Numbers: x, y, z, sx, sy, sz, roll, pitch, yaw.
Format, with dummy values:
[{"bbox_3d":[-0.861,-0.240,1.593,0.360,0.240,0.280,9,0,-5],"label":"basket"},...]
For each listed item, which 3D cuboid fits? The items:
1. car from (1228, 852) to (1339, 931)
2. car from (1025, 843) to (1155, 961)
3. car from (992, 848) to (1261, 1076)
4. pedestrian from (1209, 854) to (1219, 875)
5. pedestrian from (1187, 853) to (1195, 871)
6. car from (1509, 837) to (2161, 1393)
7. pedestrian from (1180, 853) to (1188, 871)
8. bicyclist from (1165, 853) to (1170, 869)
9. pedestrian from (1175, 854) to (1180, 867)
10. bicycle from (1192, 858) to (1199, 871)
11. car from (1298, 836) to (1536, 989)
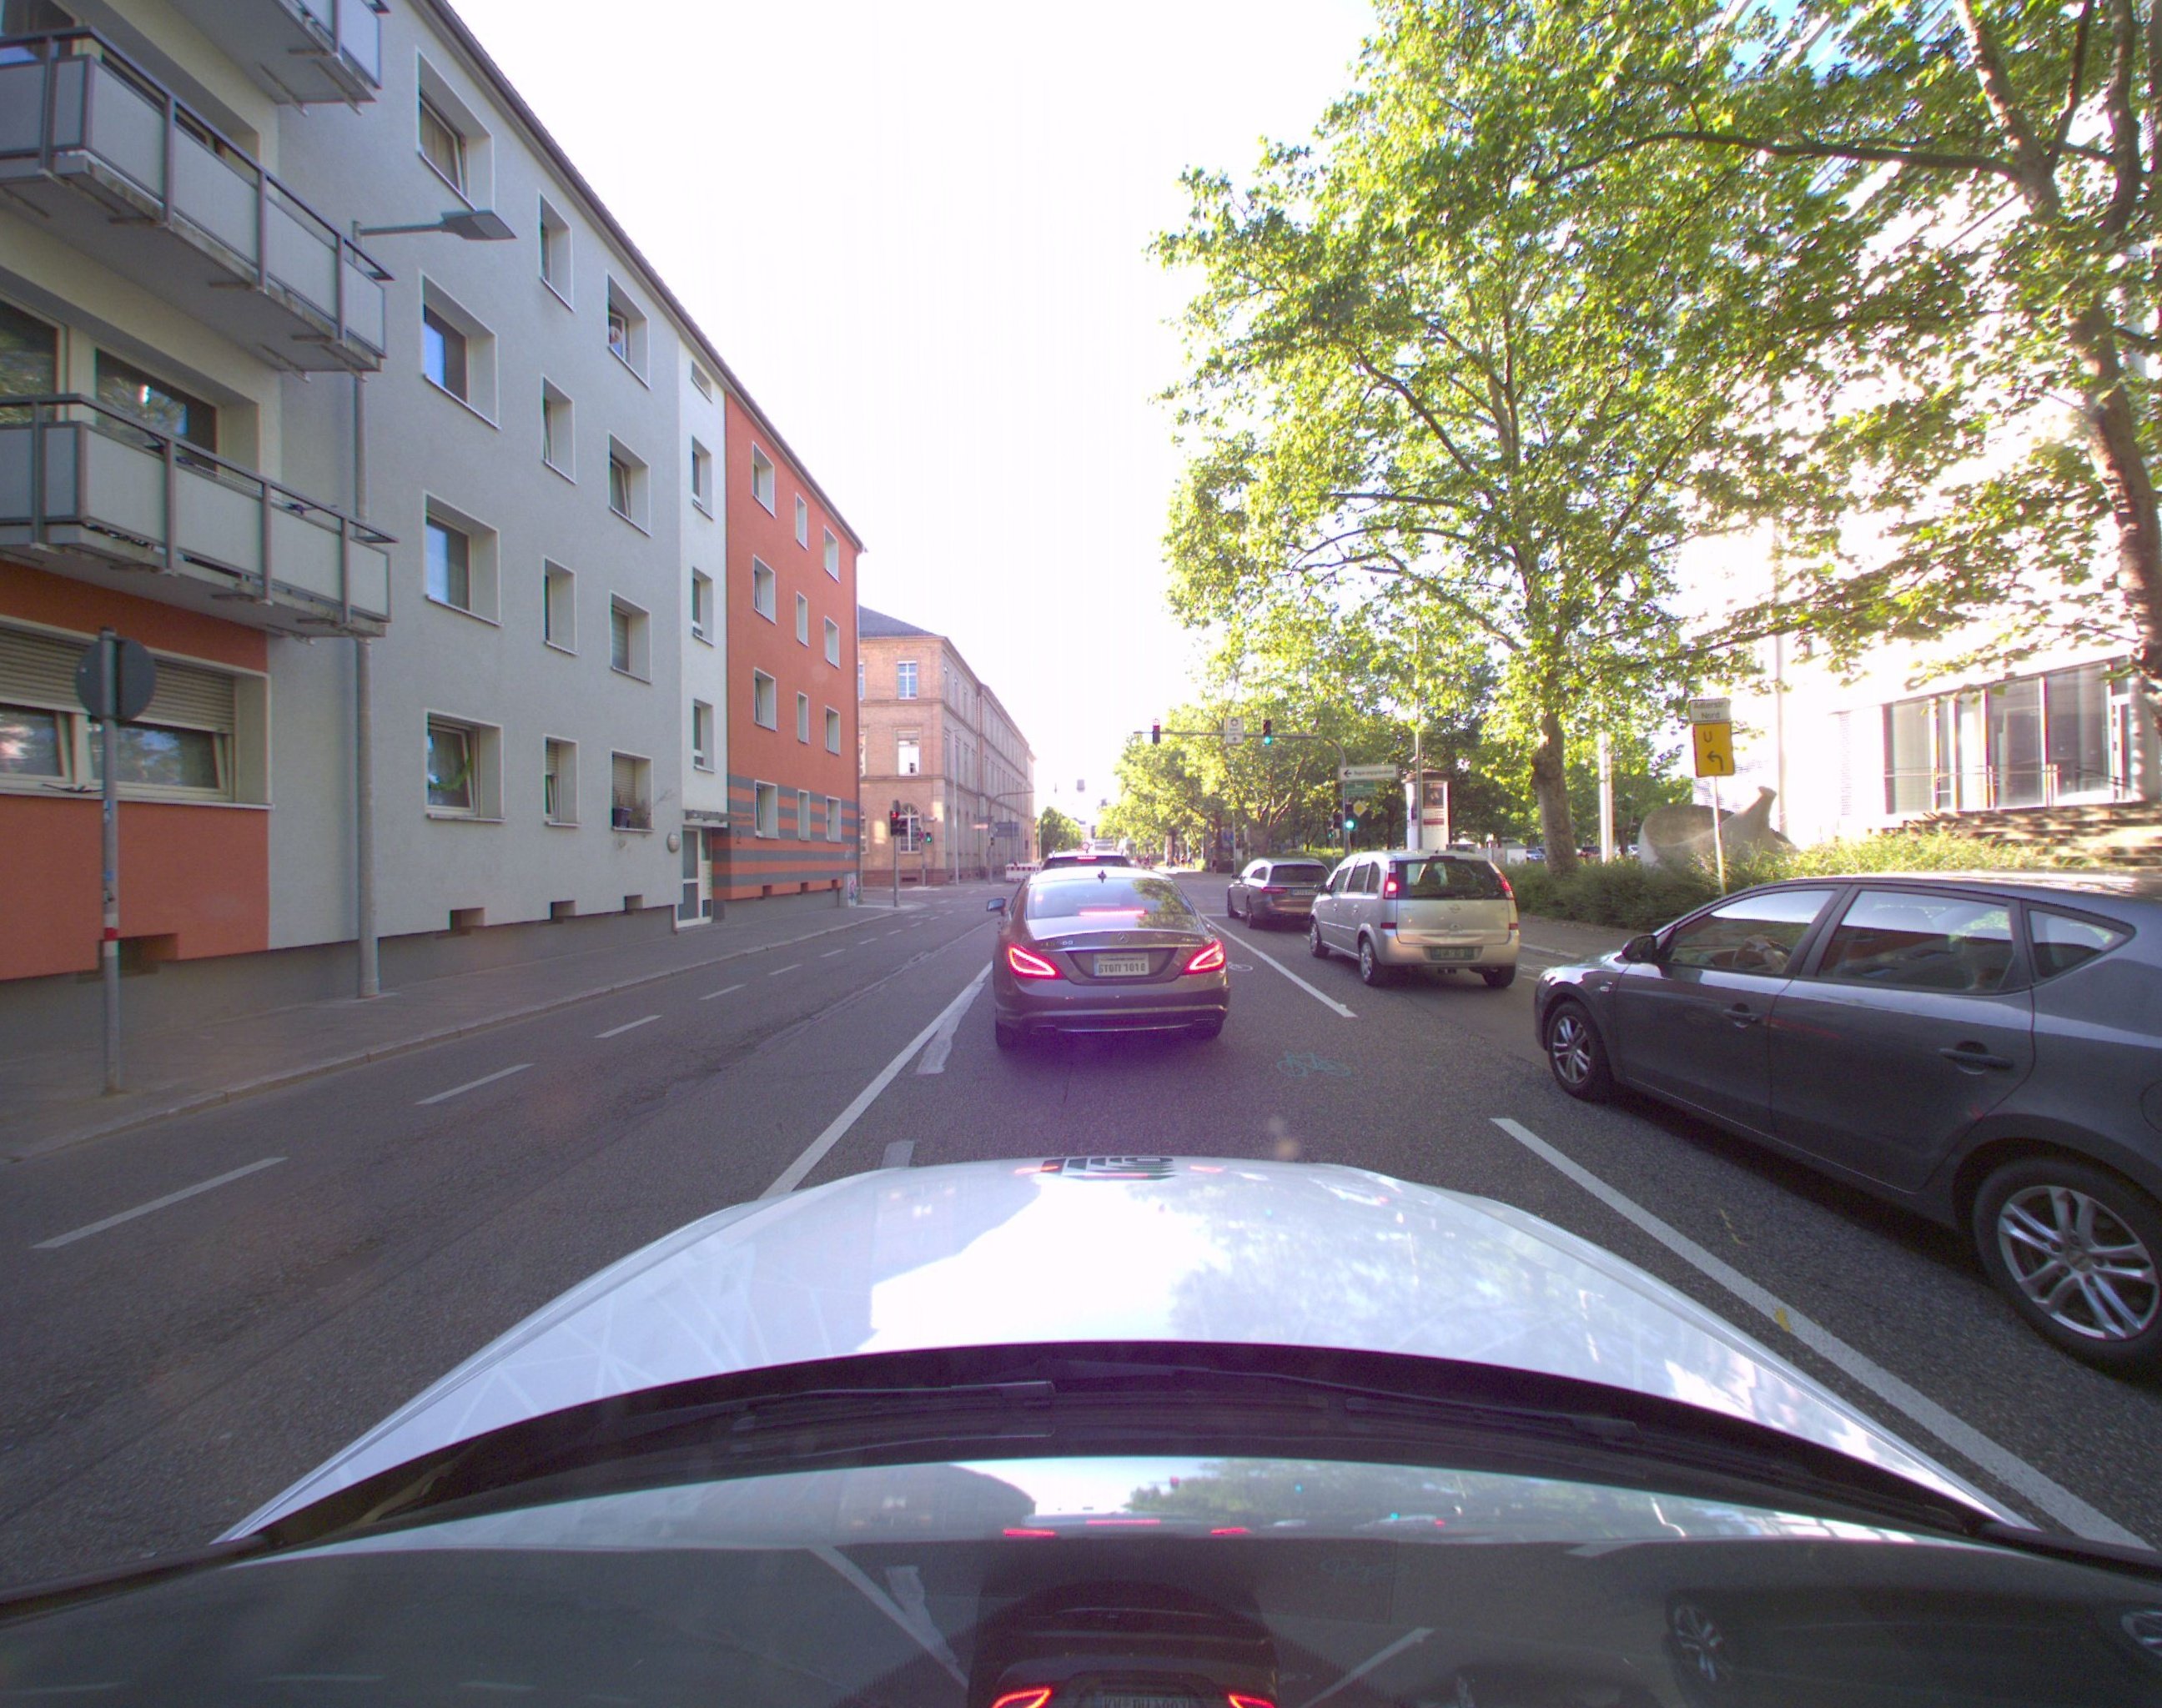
[{"bbox_3d":[4.308,0.749,17.821,1.595,1.549,3.682,0,-1,2],"label":"car"},{"bbox_3d":[0.192,0.693,13.741,1.854,1.682,4.002,-1,0,2],"label":"car"},{"bbox_3d":[0.144,0.734,7.606,1.859,1.519,3.992,-1,0,-6],"label":"car"},{"bbox_3d":[9.992,0.765,61.195,0.634,1.545,0.909,0,-1,-2],"label":"pedestrian"},{"bbox_3d":[10.693,0.795,79.244,0.634,1.760,0.698,0,-1,-2],"label":"pedestrian"},{"bbox_3d":[3.844,0.704,3.782,1.698,1.519,4.002,-1,0,2],"label":"car"},{"bbox_3d":[9.997,0.779,79.318,0.634,1.797,0.698,0,-1,-2],"label":"pedestrian"},{"bbox_3d":[11.164,0.846,104.867,0.593,2.039,0.566,0,-1,-2],"label":"bicyclist"},{"bbox_3d":[10.889,0.744,92.073,0.554,1.509,0.345,0,-1,-3],"label":"pedestrian"},{"bbox_3d":[11.032,1.018,78.720,0.480,1.202,1.607,0,-1,2],"label":"bicycle"},{"bbox_3d":[4.170,0.655,10.767,1.725,1.662,3.682,0,-1,2],"label":"car"}]
